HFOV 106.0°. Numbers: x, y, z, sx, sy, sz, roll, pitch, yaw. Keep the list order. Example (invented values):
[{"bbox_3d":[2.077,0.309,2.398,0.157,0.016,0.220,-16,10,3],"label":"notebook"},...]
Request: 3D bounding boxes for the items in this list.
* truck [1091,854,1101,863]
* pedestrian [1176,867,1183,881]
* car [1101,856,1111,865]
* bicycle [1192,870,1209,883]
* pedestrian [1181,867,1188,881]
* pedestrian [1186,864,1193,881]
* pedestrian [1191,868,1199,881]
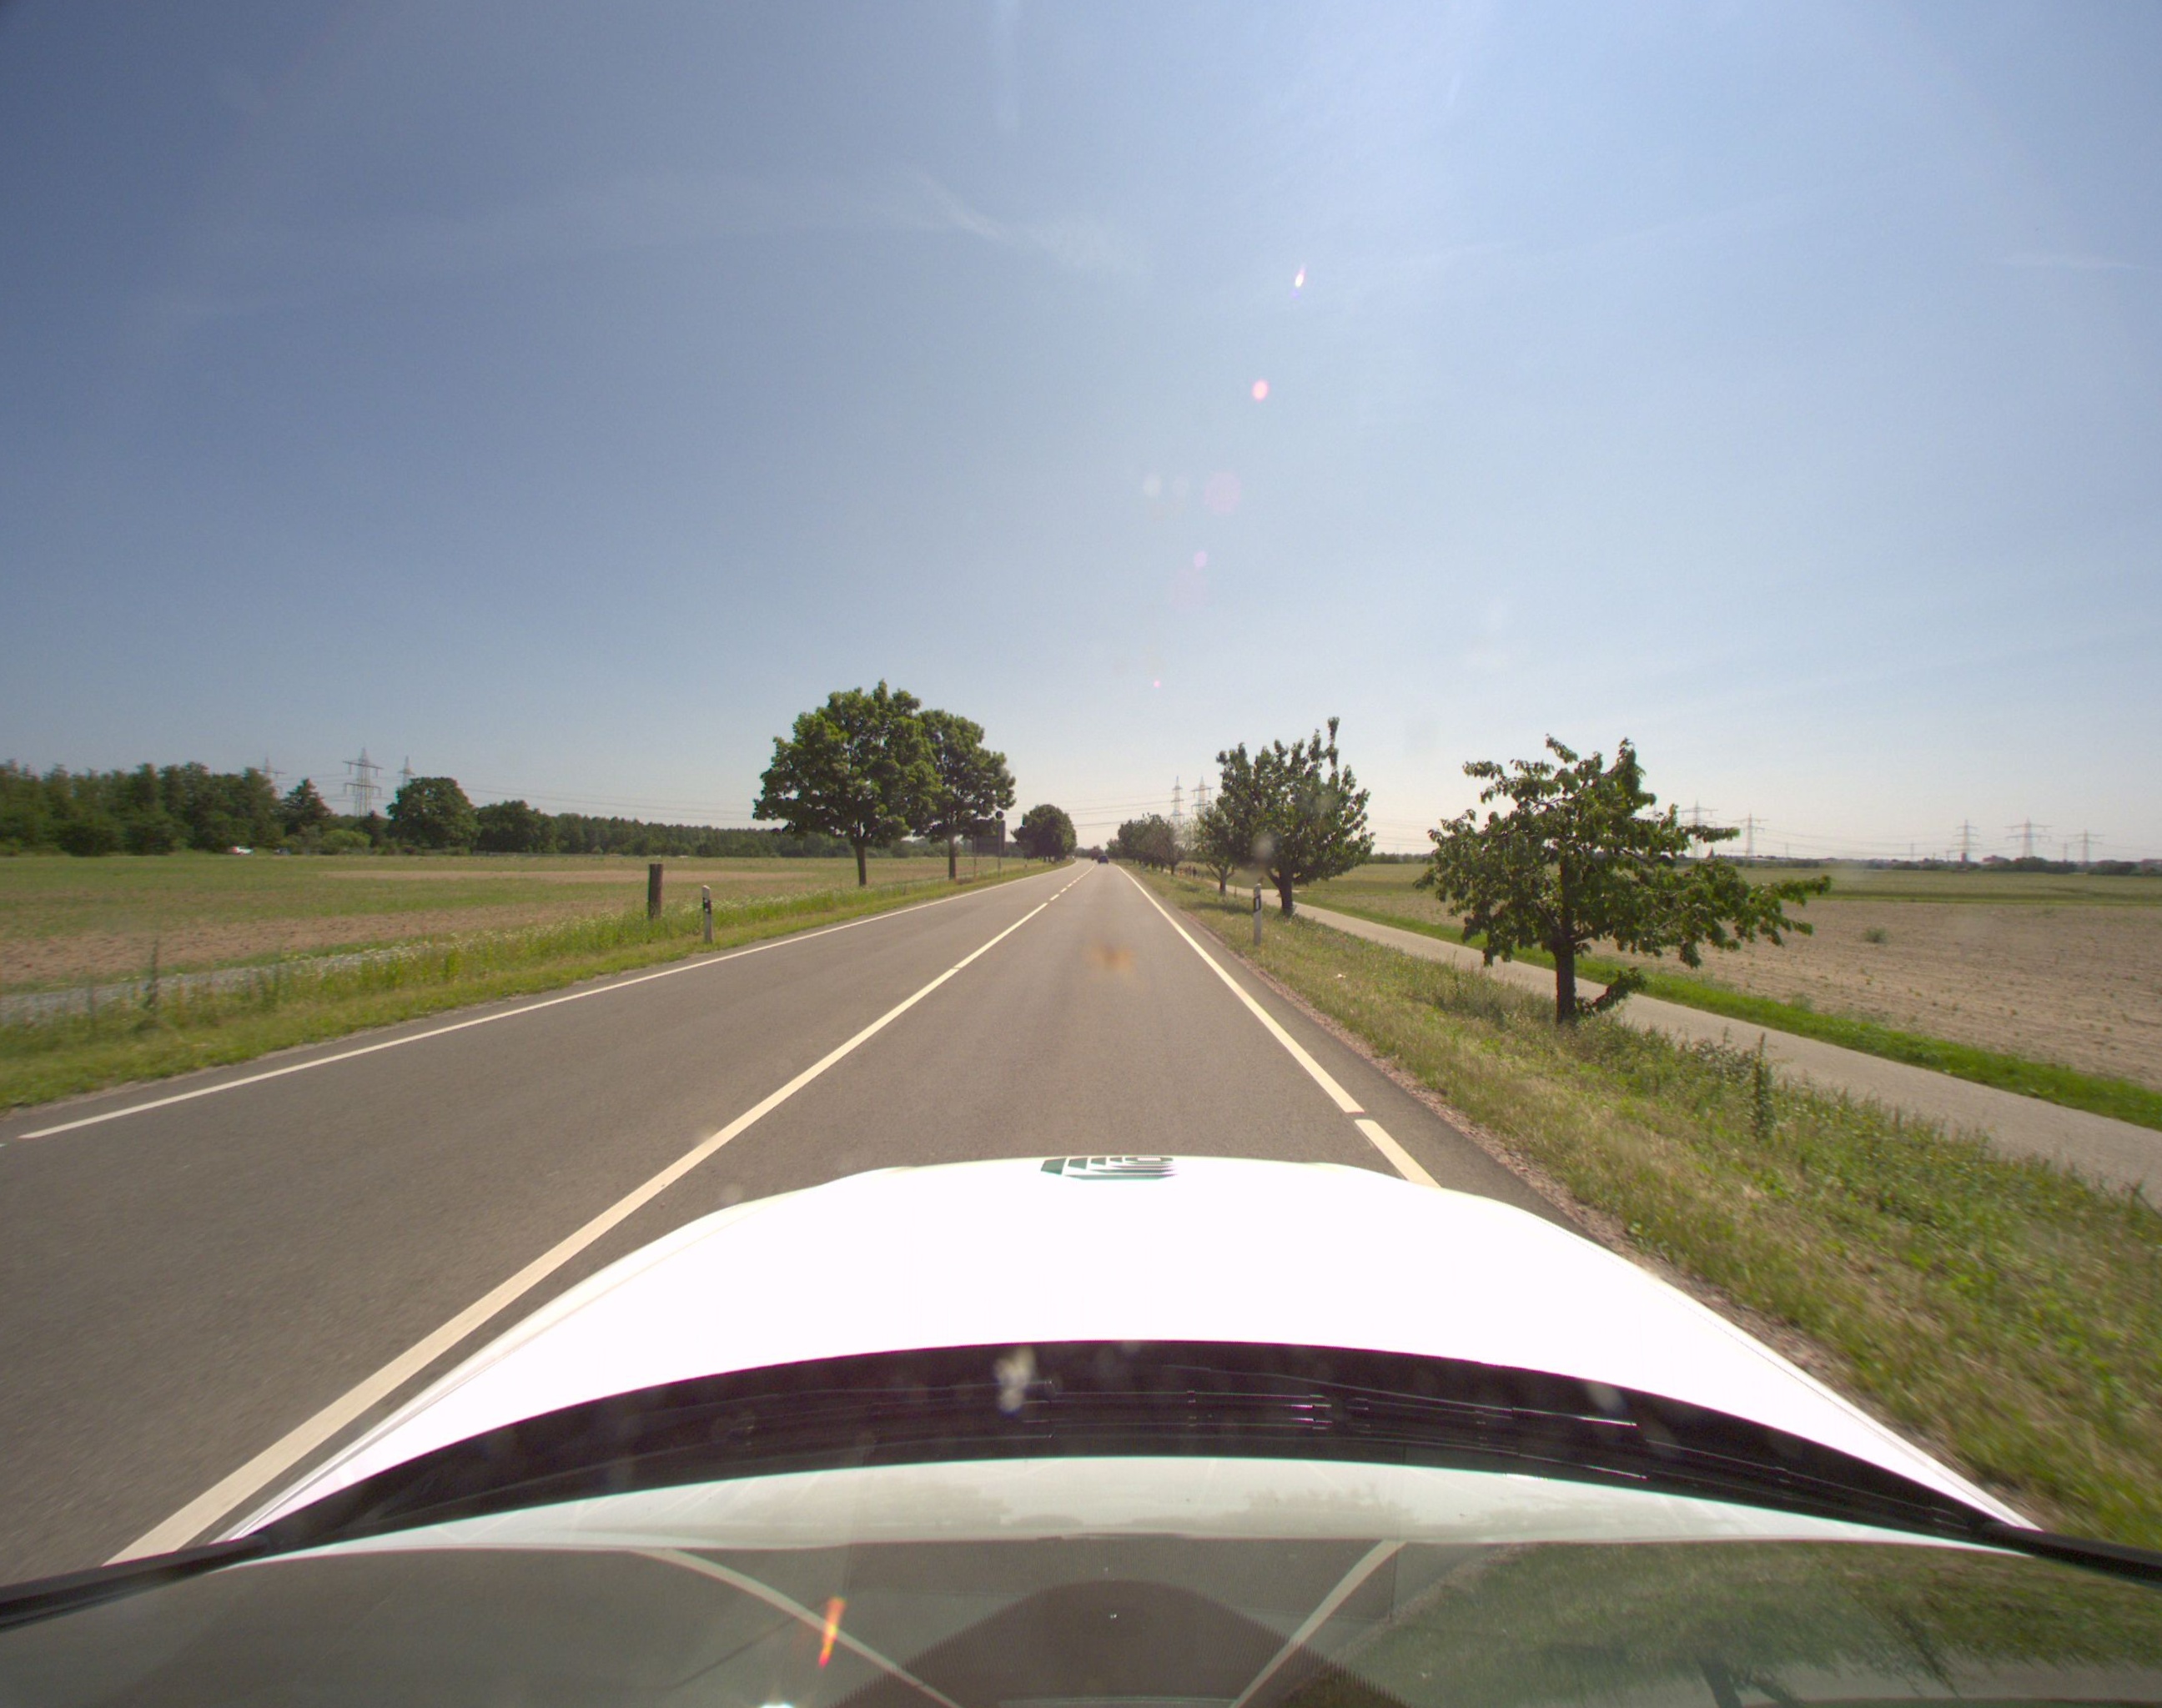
[{"bbox_3d":[4.783,1.320,261.099,3.161,2.861,9.517,0,0,2],"label":"truck"},{"bbox_3d":[10.277,2.078,84.779,0.554,1.371,0.603,3,0,-6],"label":"pedestrian"},{"bbox_3d":[4.653,1.162,151.133,1.878,1.518,4.041,3,0,2],"label":"car"},{"bbox_3d":[11.906,2.285,81.341,1.216,1.165,2.434,3,0,-2],"label":"bicycle"},{"bbox_3d":[10.809,2.102,85.180,0.554,1.371,0.603,3,0,-6],"label":"pedestrian"},{"bbox_3d":[11.401,1.956,85.549,0.554,1.721,0.603,3,0,-6],"label":"pedestrian"},{"bbox_3d":[11.860,2.151,84.791,0.554,1.371,0.603,3,0,-6],"label":"pedestrian"}]
